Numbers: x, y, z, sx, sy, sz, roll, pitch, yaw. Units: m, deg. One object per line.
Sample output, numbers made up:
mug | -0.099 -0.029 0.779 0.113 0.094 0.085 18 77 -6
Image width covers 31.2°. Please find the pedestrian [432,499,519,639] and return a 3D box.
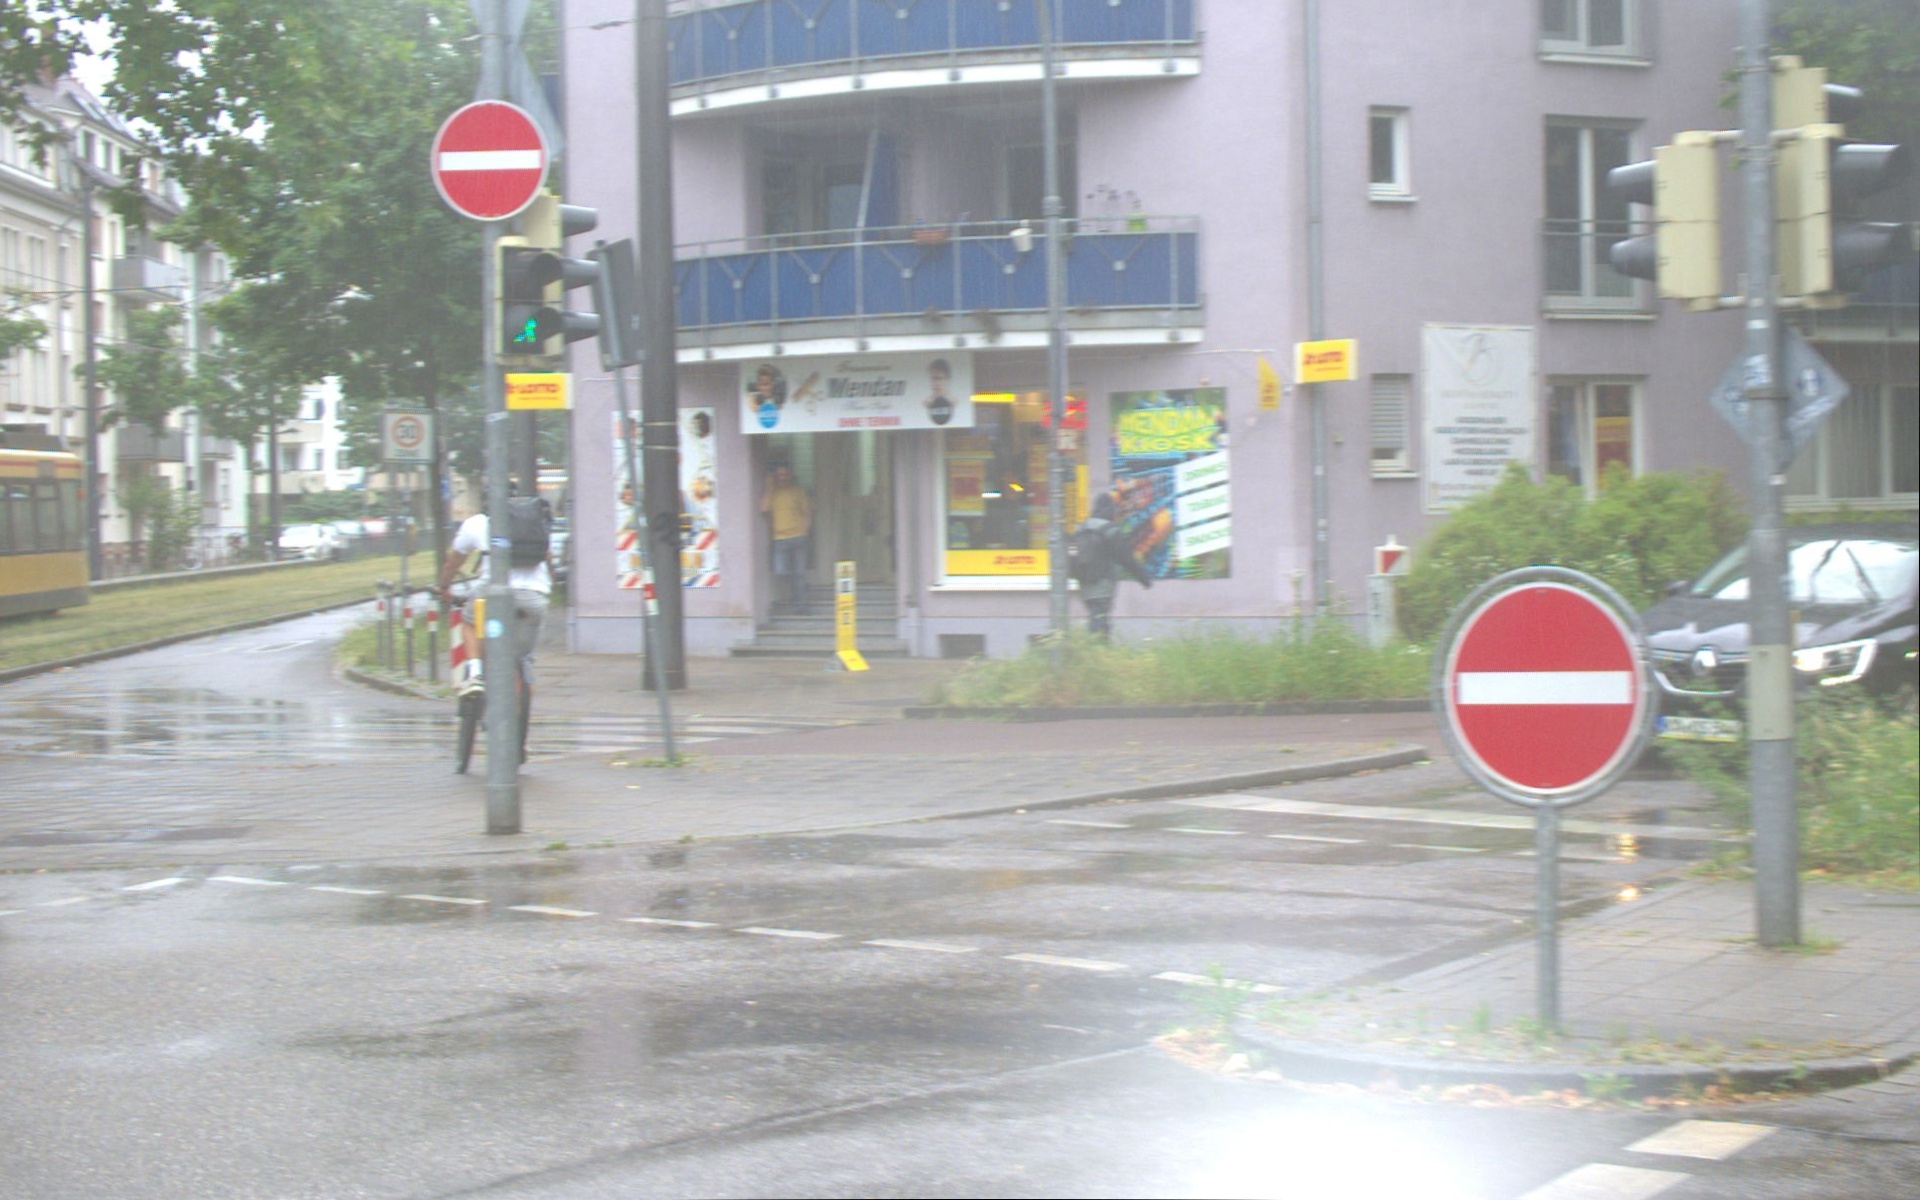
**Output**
pedestrian | -6.013 -0.394 42.675 0.952 1.691 0.921 -1 2 -3

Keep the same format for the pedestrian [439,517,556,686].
pedestrian | -4.382 0.004 32.629 0.991 1.554 0.784 -1 2 -2

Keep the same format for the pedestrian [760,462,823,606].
pedestrian | -1.892 -0.738 38.541 0.472 1.596 0.593 0 2 24

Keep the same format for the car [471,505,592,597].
car | -8.218 -0.969 66.238 1.993 1.667 4.001 -1 2 -3

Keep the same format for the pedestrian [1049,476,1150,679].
pedestrian | 1.260 -0.212 31.006 0.642 1.797 0.621 0 3 33

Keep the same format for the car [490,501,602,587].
car | -8.531 -1.180 71.160 1.993 1.667 4.001 -1 2 -3

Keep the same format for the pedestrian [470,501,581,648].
pedestrian | -5.413 -0.329 42.784 1.162 1.782 0.895 -1 2 -20

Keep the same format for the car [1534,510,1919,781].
car | 5.397 0.194 21.289 1.992 1.456 4.169 1 2 36

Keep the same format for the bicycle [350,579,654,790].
bicycle | -2.809 0.485 20.934 0.751 1.169 2.040 -3 3 -43

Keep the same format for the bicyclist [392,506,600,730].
bicyclist | -2.828 0.089 20.930 0.741 1.305 1.076 -3 3 -43

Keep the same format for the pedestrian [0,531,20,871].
pedestrian | -4.753 0.475 15.471 0.690 1.542 0.761 -1 2 12

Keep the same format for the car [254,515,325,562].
car | -22.805 -2.105 117.096 1.993 1.527 4.001 -1 2 -6

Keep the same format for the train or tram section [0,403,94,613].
train or tram section | -16.666 -1.493 56.259 2.637 3.339 9.988 -1 2 -1

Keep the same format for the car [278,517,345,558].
car | -23.153 -2.237 122.881 1.993 1.393 4.001 -1 2 -6
